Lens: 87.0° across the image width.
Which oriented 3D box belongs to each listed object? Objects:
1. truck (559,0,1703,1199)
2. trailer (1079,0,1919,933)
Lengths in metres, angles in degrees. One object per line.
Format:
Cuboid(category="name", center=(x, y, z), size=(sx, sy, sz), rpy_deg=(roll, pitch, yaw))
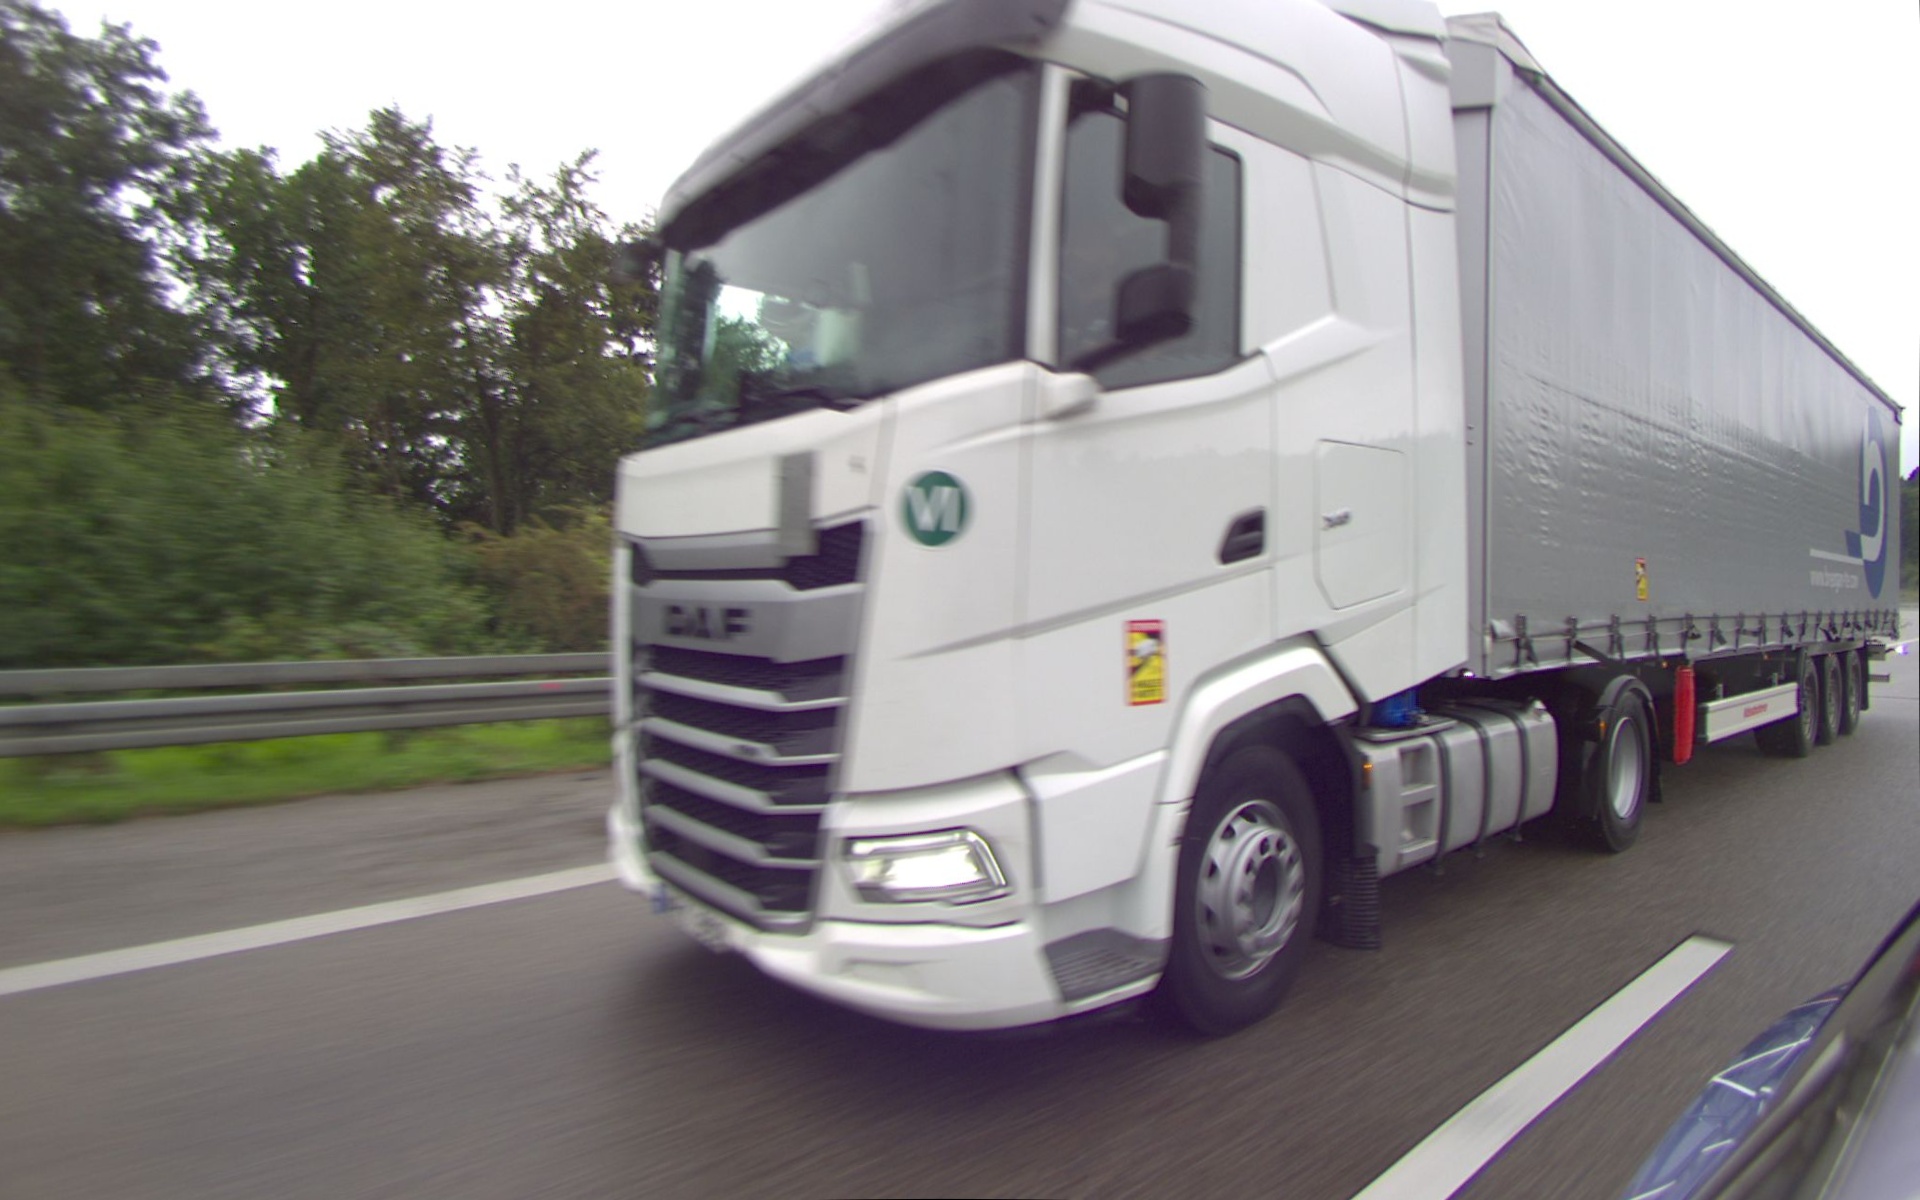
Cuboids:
Cuboid(category="truck", center=(1.322, -0.674, 5.094), size=(5.651, 4.092, 2.726), rpy_deg=(0, 0, -41))
Cuboid(category="trailer", center=(6.693, -0.650, 9.777), size=(13.465, 4.092, 2.684), rpy_deg=(0, 0, -41))
